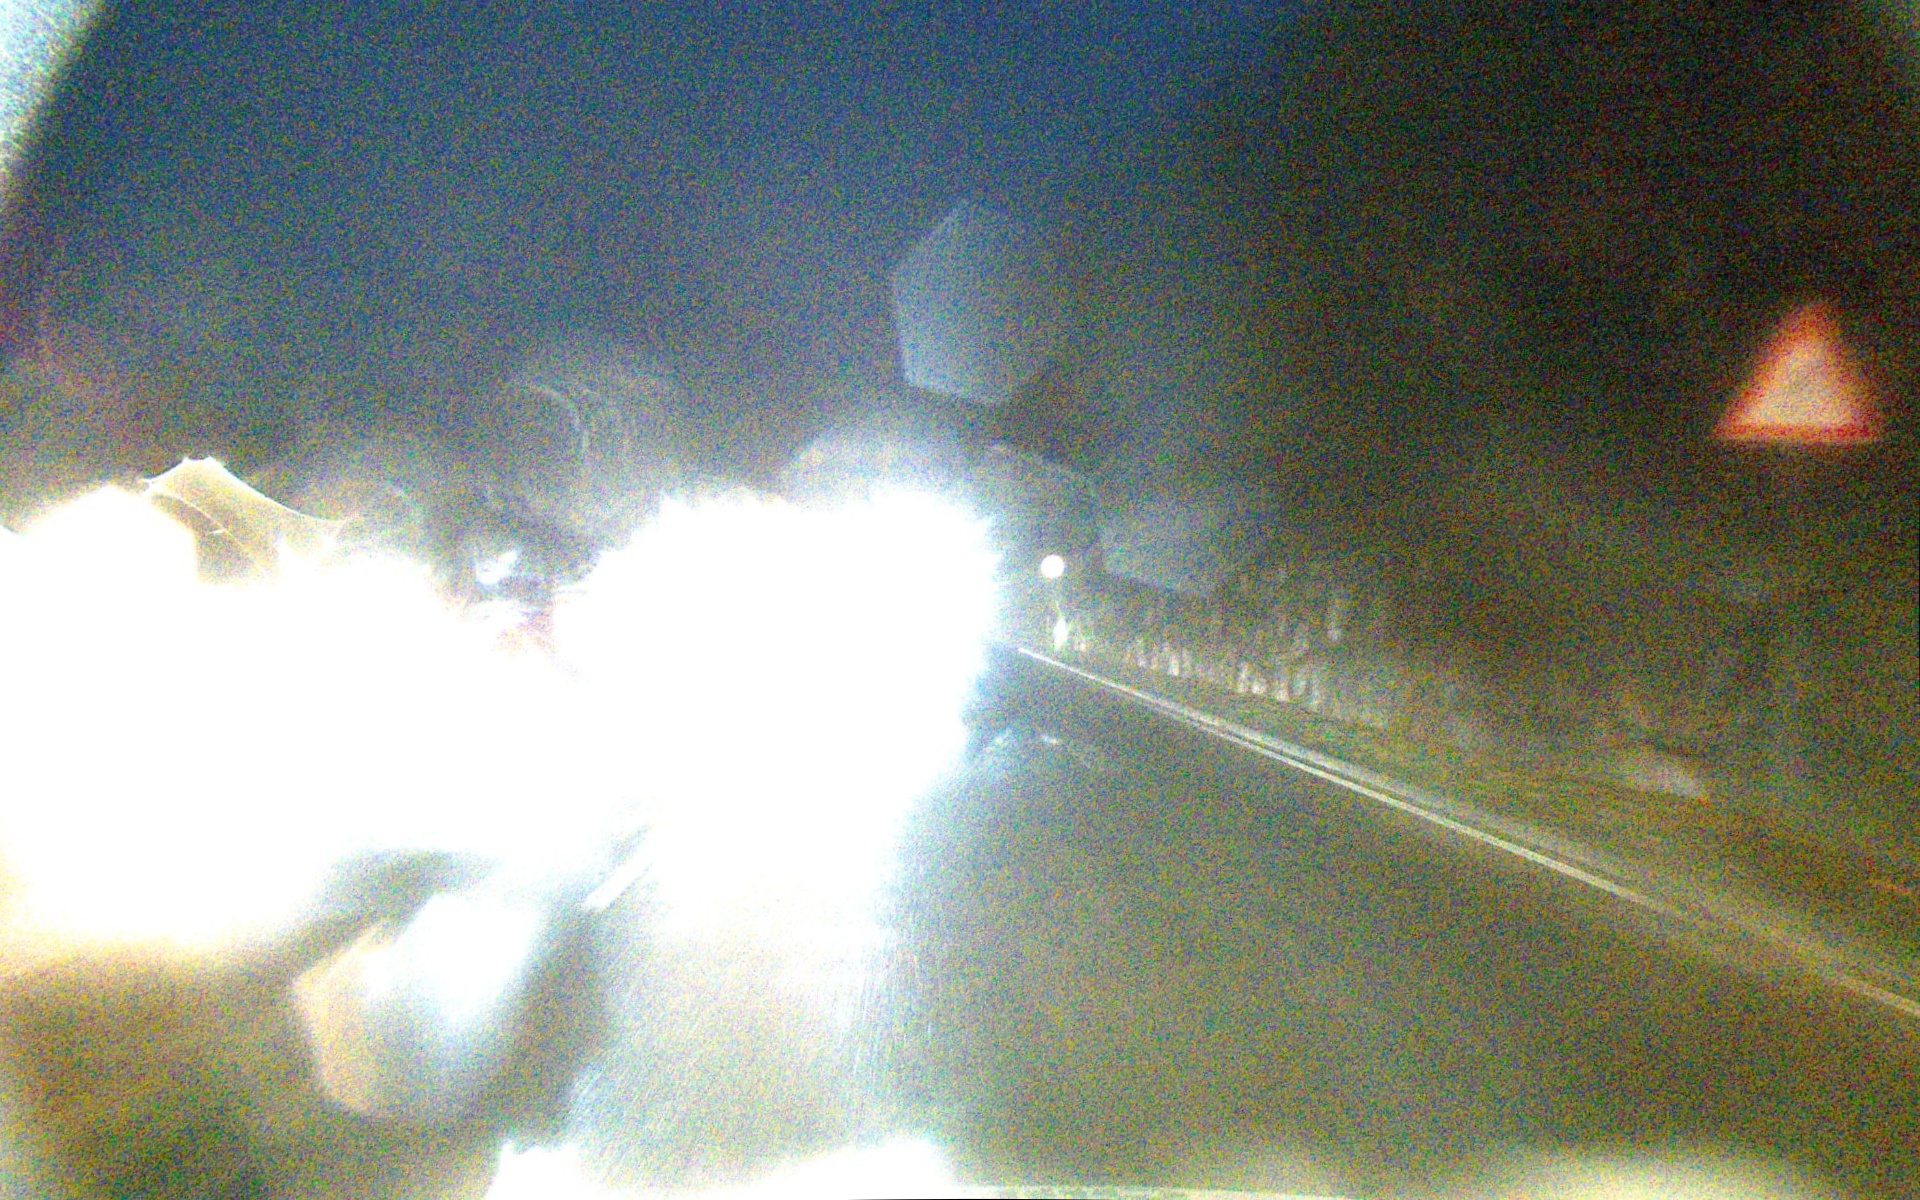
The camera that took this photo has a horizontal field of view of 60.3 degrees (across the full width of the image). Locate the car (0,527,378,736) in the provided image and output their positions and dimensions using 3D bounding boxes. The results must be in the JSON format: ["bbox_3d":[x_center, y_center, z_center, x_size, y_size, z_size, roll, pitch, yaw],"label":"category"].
[{"bbox_3d":[-8.733,0.311,19.088,2.109,2.049,4.996,2,0,1],"label":"car"}]

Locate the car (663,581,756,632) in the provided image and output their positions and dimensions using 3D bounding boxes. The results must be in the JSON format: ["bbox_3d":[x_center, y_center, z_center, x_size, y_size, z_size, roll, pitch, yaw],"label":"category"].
[{"bbox_3d":[-8.129,0.191,54.129,2.040,1.569,4.900,1,0,3],"label":"car"}]

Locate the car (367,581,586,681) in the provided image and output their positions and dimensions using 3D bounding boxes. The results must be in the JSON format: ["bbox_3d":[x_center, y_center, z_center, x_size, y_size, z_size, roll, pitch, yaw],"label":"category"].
[{"bbox_3d":[-8.448,0.487,29.490,2.136,1.586,5.206,1,0,3],"label":"car"}]

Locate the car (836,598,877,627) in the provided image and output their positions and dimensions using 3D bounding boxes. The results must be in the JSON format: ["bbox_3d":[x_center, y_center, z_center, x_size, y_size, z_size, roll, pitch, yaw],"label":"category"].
[{"bbox_3d":[-6.074,0.737,97.266,2.067,1.603,4.679,2,0,0],"label":"car"}]

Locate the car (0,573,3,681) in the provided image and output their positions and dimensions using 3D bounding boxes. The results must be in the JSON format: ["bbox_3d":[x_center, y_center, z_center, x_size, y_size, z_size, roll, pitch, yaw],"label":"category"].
[{"bbox_3d":[-8.776,0.536,11.580,1.925,1.556,3.688,2,0,1],"label":"car"}]

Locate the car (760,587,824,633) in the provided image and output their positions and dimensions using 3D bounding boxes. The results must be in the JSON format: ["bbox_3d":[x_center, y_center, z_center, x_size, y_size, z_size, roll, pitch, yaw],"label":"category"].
[{"bbox_3d":[-7.282,0.405,72.150,1.952,1.897,5.321,1,0,3],"label":"car"}]
